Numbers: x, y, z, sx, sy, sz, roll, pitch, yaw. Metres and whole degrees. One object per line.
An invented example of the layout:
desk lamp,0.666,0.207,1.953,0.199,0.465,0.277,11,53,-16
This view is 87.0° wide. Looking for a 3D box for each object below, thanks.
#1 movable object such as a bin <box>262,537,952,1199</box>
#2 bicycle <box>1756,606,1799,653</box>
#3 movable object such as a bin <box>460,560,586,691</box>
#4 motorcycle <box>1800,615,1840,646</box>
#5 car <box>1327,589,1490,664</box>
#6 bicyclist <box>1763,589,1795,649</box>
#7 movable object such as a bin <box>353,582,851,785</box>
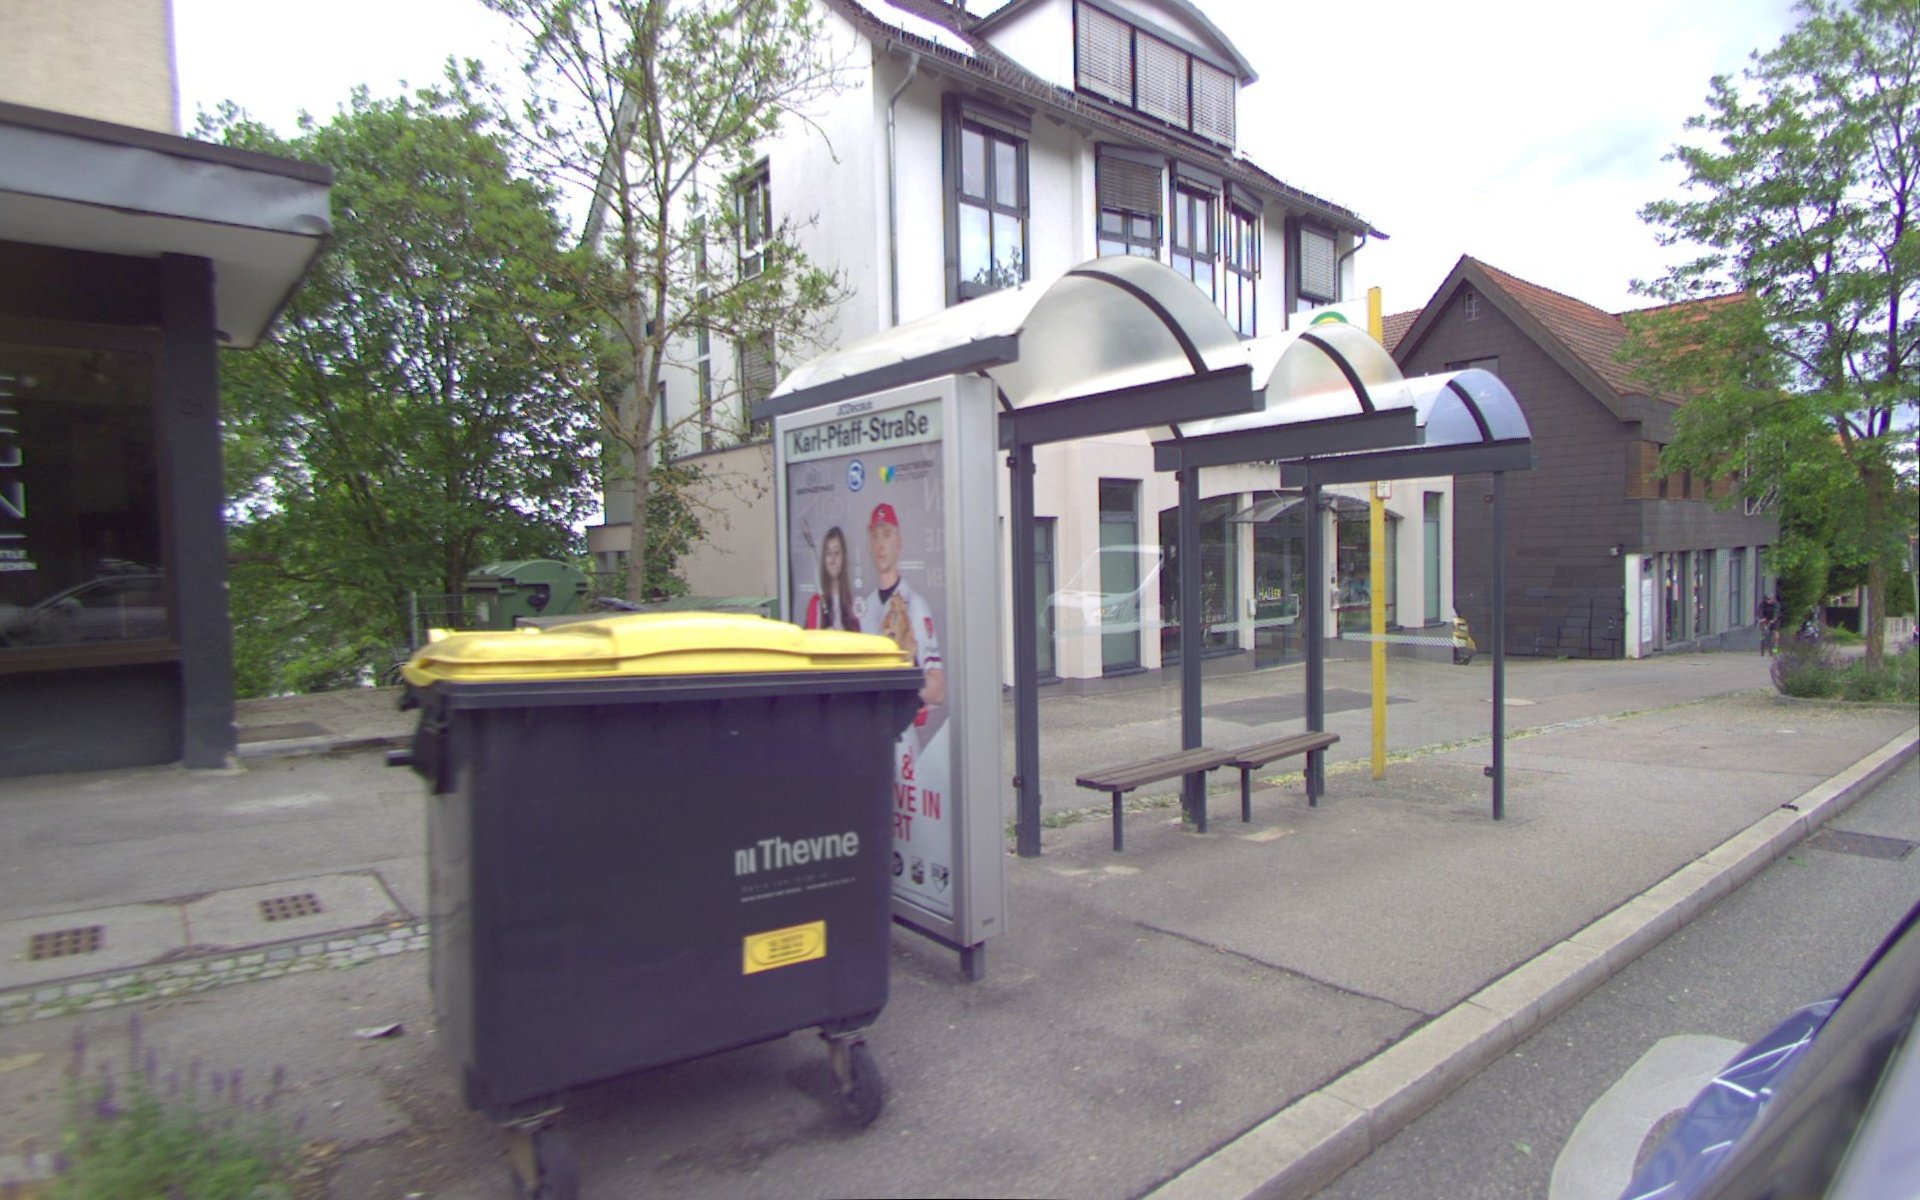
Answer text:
movable object such as a bin,-0.952,0.632,2.788,1.509,1.500,1.088,1,0,-39
bicycle,23.175,0.830,28.673,2.002,1.278,0.572,2,0,-41
movable object such as a bin,-5.144,0.278,11.890,1.051,1.427,1.344,1,0,-38
motorcycle,30.871,1.085,36.320,1.931,1.064,0.697,1,1,-38
car,10.219,0.654,23.129,2.985,1.484,1.641,-6,-6,40
bicyclist,23.254,0.535,28.737,0.930,1.654,0.539,1,-1,-40
movable object such as a bin,-3.181,0.609,9.317,3.927,1.470,1.893,1,0,-38
